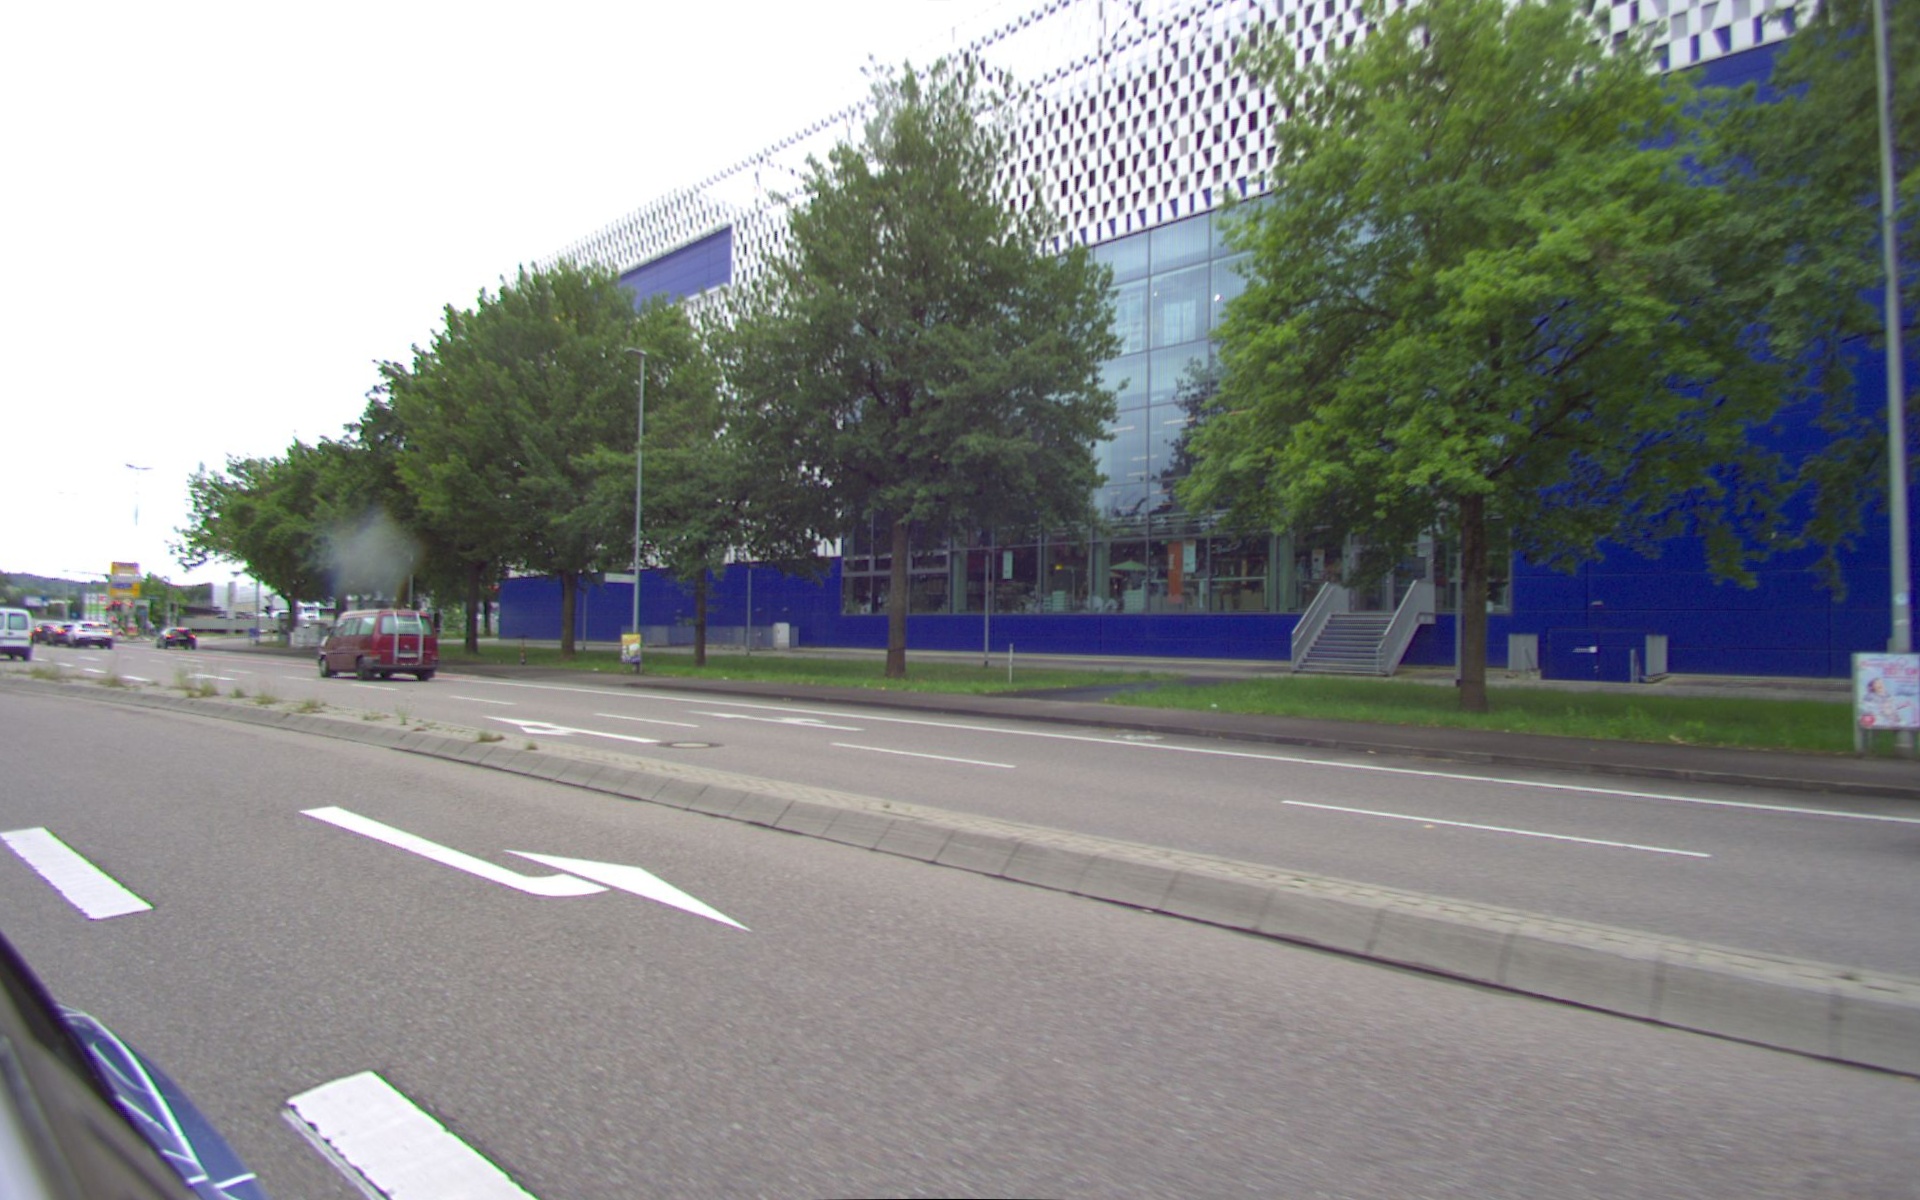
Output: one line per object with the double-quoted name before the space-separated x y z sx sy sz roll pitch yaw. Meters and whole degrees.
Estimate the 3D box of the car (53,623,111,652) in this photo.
"car" -52.655 2.232 60.661 3.973 1.624 1.707 -1 -5 36

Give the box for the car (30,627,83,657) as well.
"car" -57.500 2.667 64.378 3.973 1.812 1.631 -1 -5 36

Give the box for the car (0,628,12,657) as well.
"car" -62.041 2.662 64.411 3.973 1.812 1.631 -1 -5 36

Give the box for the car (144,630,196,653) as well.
"car" -52.849 2.771 67.700 3.973 1.401 1.631 -1 -5 36

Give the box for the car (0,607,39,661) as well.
"car" -33.834 1.201 35.345 3.973 1.812 1.631 -1 -4 36

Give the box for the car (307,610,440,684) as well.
"car" -16.821 1.333 28.919 4.906 1.939 1.748 -2 -4 41
